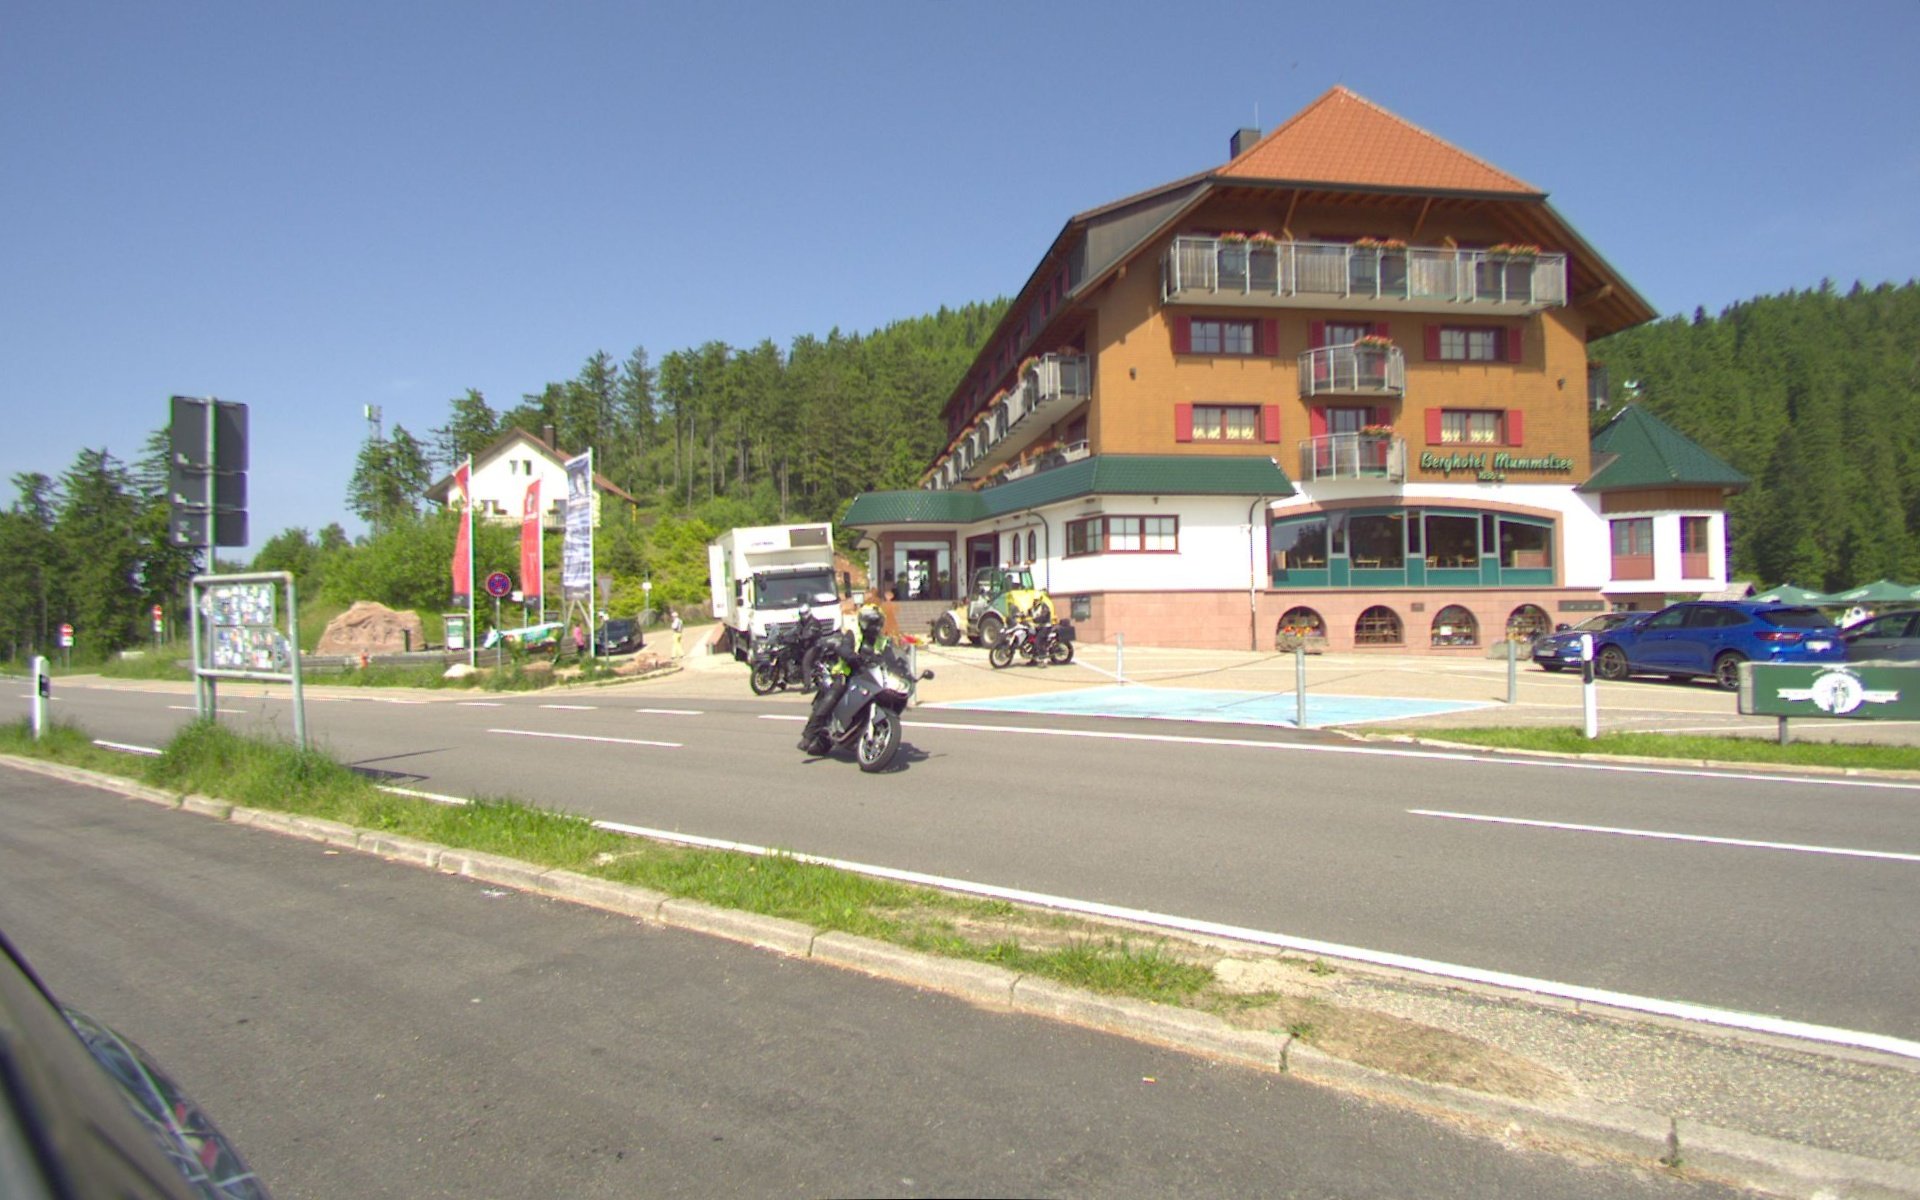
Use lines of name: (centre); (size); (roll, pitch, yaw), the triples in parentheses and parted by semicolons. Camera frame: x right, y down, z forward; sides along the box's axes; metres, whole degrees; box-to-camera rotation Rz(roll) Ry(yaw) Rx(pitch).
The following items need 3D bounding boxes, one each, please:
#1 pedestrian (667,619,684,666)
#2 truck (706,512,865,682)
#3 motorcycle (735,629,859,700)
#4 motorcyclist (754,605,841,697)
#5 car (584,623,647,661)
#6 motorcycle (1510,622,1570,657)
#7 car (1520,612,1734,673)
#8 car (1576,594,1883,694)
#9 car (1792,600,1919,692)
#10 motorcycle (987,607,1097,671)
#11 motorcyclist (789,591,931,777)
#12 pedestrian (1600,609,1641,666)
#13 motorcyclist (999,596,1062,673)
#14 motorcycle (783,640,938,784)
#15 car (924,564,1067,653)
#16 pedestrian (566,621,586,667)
pedestrian: (-10.401, 1.549, 37.024); (0.565, 1.702, 0.655); (0, -2, -19)
truck: (-5.264, -0.128, 28.821); (3.018, 4.001, 8.799); (-3, 1, -18)
motorcycle: (-3.255, 1.261, 20.296); (2.239, 1.266, 0.881); (-1, -2, -33)
motorcyclist: (-3.260, 1.003, 20.290); (1.427, 1.731, 0.928); (-1, -2, -33)
car: (-15.668, 1.878, 46.174); (1.851, 1.364, 4.006); (0, 3, -5)
motorcycle: (19.139, 1.286, 33.451); (0.473, 0.992, 1.796); (-6, 3, -18)
car: (15.402, 0.976, 23.464); (3.936, 1.307, 1.717); (-1, -2, -8)
car: (14.572, 0.788, 19.581); (1.908, 1.676, 4.555); (-1, -1, -11)
car: (17.242, 0.785, 17.522); (1.968, 1.557, 4.007); (-1, -2, -9)
motorcycle: (1.939, 0.909, 24.117); (2.405, 1.417, 1.008); (-1, 1, -11)
motorcyclist: (-1.023, 0.773, 10.059); (1.011, 1.688, 1.297); (-1, -1, -25)
pedestrian: (19.370, 1.100, 29.696); (0.692, 1.645, 0.626); (-1, -2, -2)
motorcyclist: (1.657, 0.796, 24.042); (1.227, 1.732, 1.067); (-1, 1, -11)
motorcycle: (-1.060, 1.026, 10.056); (0.810, 1.186, 2.294); (-1, -1, -25)
car: (1.031, 0.246, 30.859); (3.998, 2.515, 1.973); (0, -1, 41)
pedestrian: (-14.624, 1.661, 38.505); (0.687, 1.729, 0.801); (0, -2, -19)
